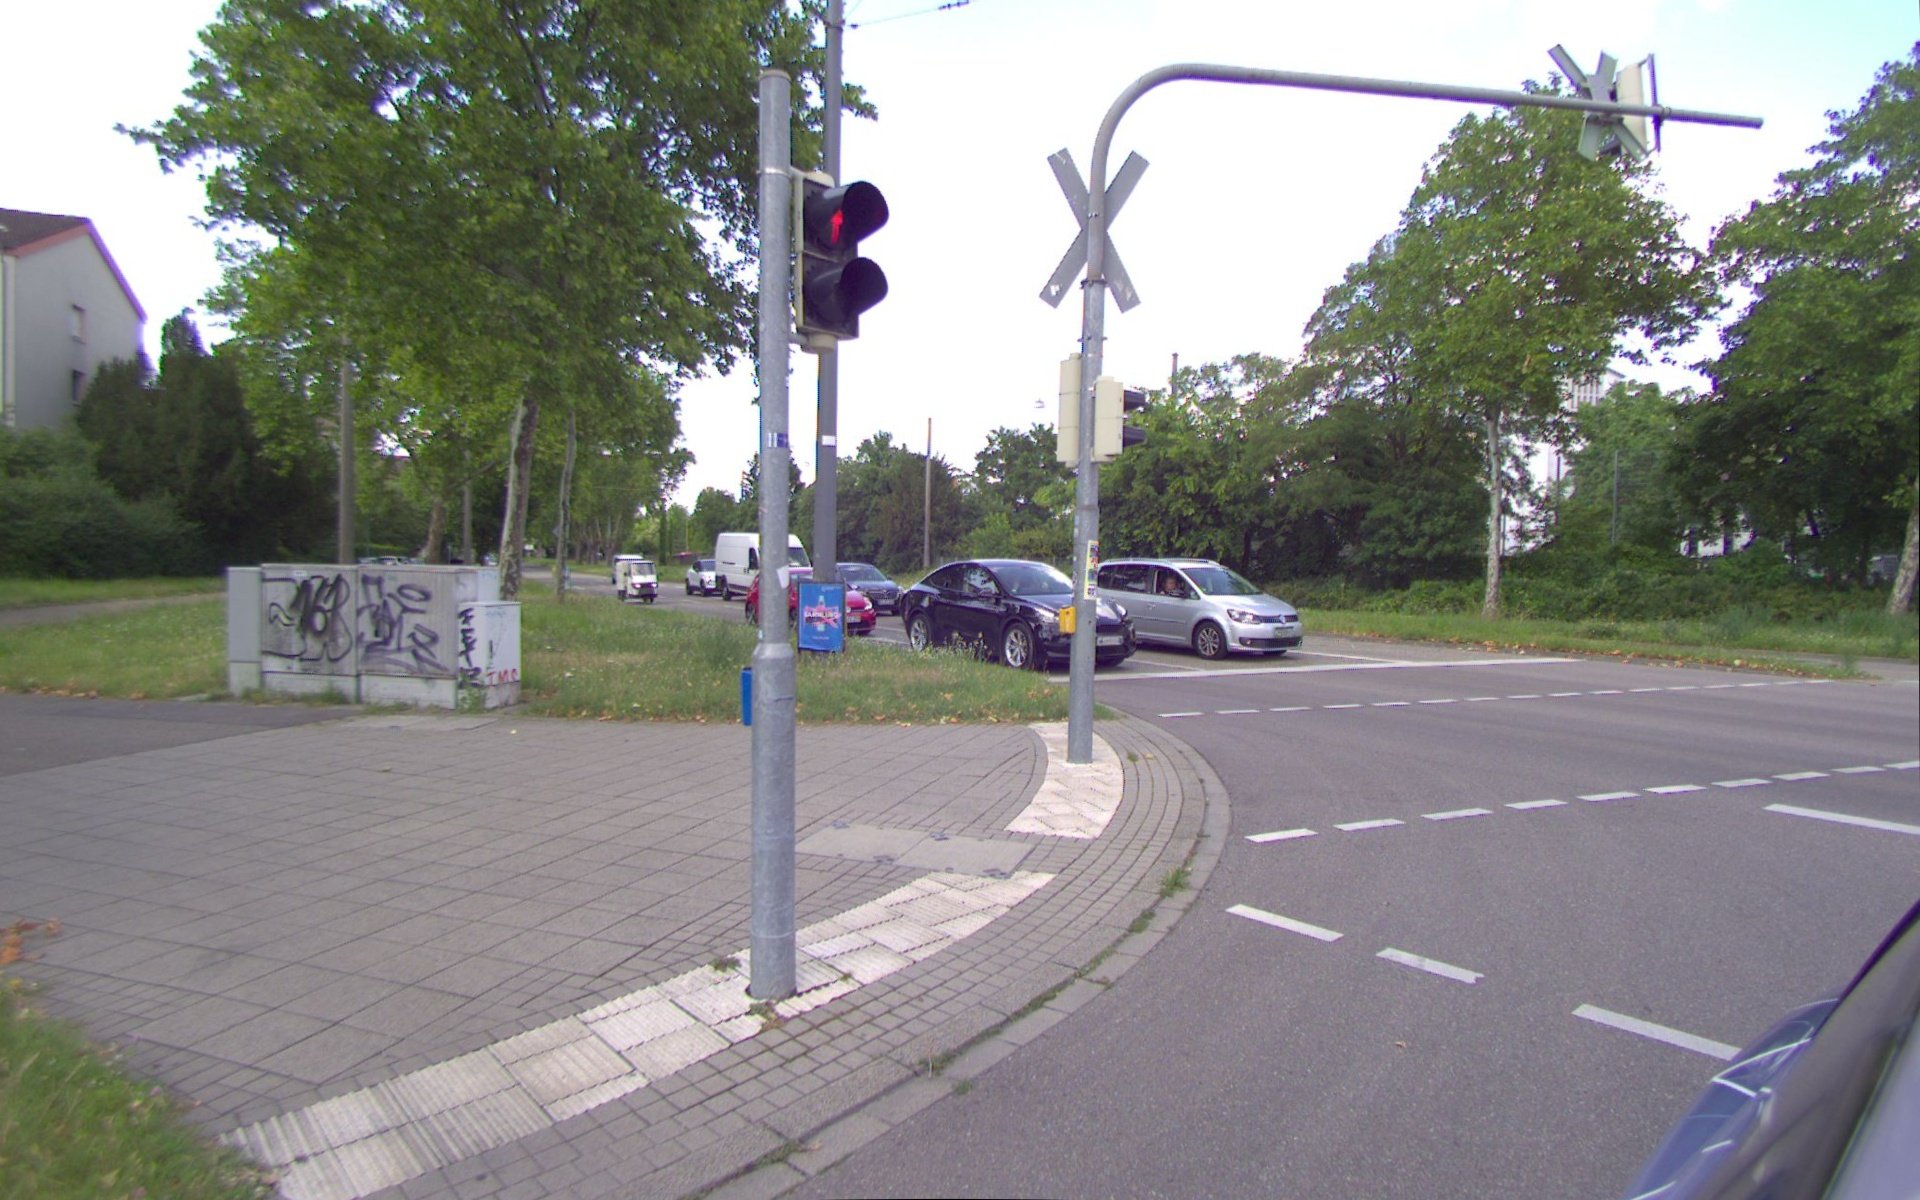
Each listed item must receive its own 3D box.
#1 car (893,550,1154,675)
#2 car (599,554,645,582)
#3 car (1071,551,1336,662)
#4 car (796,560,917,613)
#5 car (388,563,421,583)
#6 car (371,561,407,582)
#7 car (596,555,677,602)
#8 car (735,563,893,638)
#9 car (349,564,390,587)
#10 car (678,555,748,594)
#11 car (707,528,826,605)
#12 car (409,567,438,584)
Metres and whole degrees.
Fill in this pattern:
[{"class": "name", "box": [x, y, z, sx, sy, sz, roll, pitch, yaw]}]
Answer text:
[{"class": "car", "box": [0.828, 0.056, 16.159, 1.894, 1.672, 4.585, -2, 3, -31]}, {"class": "car", "box": [-21.081, -2.017, 63.053, 1.730, 1.667, 4.347, 0, 2, -33]}, {"class": "car", "box": [4.113, -0.019, 17.850, 1.894, 1.672, 4.506, -2, 3, -33]}, {"class": "car", "box": [-3.095, -0.457, 29.558, 1.731, 1.391, 4.347, -2, 3, -33]}, {"class": "car", "box": [-47.108, -2.262, 85.833, 1.739, 1.616, 3.664, 0, 0, -17]}, {"class": "car", "box": [-45.896, -2.239, 81.400, 1.739, 1.616, 3.664, 0, 0, -17]}, {"class": "car", "box": [-12.092, -0.851, 37.668, 1.767, 1.589, 4.506, -2, 3, -33]}, {"class": "car", "box": [-3.366, -0.074, 22.592, 1.767, 1.408, 4.506, -2, 3, -33]}, {"class": "car", "box": [-42.625, -1.740, 73.151, 1.739, 1.616, 3.664, 0, 0, -17]}, {"class": "car", "box": [-10.822, -1.154, 44.213, 1.808, 1.637, 4.161, -1, 3, -31]}, {"class": "car", "box": [-7.175, -1.286, 36.992, 2.185, 2.560, 5.938, -2, 3, -33]}, {"class": "car", "box": [-50.986, -2.312, 96.205, 1.739, 1.616, 3.664, 0, 0, -17]}]
